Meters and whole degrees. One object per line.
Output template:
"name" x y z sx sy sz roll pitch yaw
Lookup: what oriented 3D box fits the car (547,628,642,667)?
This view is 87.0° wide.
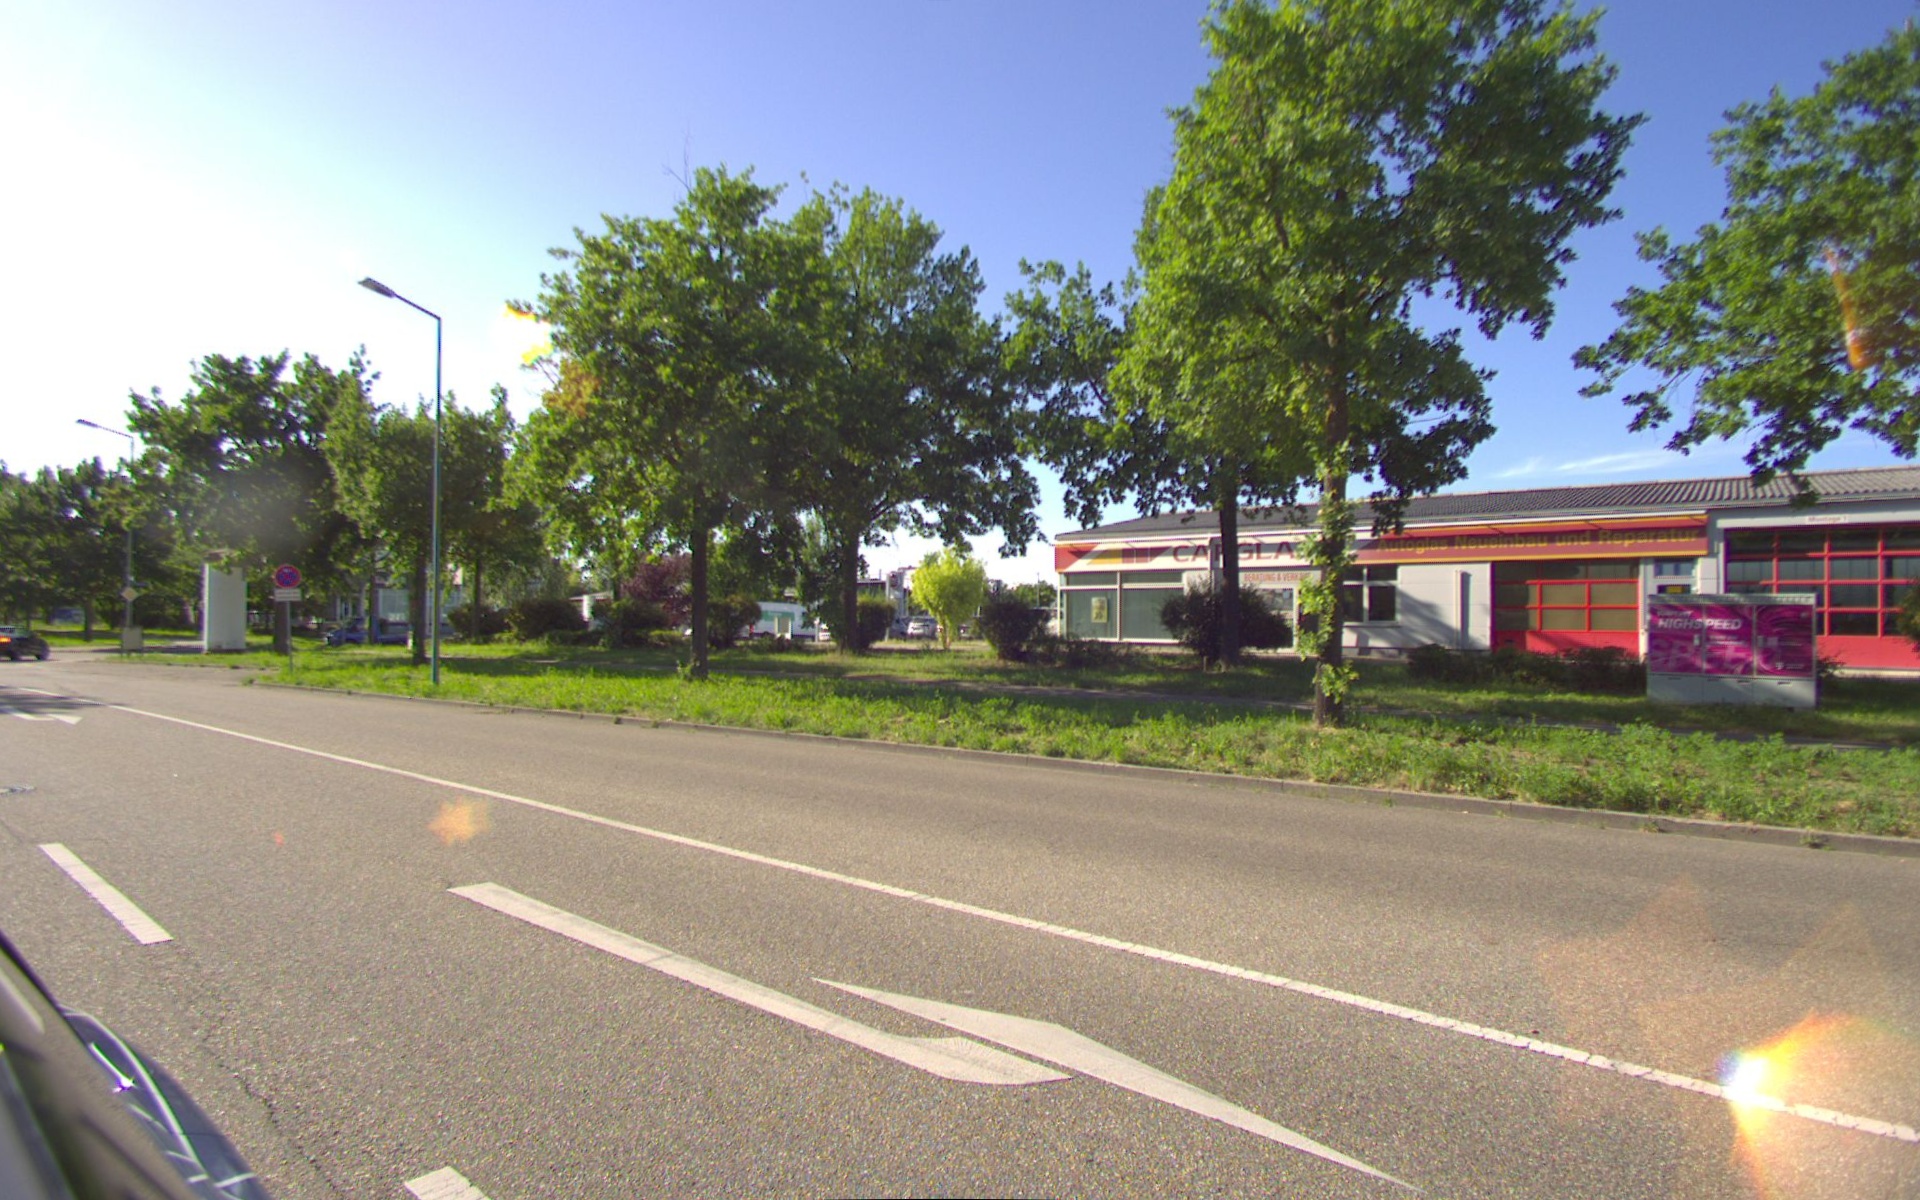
"car" -26.631 3.404 73.976 2.297 2.535 6.280 0 0 37

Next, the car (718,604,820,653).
"car" -11.390 1.649 60.730 2.297 2.723 6.102 0 0 37

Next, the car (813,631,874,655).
"car" -6.710 2.477 58.551 1.572 1.312 3.489 -1 -1 38

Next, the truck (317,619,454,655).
"truck" -35.207 2.239 62.238 2.138 2.065 7.043 0 -2 38

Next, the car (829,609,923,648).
"car" -4.605 1.586 56.295 2.297 2.085 5.359 -1 -2 37

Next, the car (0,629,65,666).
"car" -37.823 1.872 39.822 1.966 1.414 4.600 2 -4 -15
